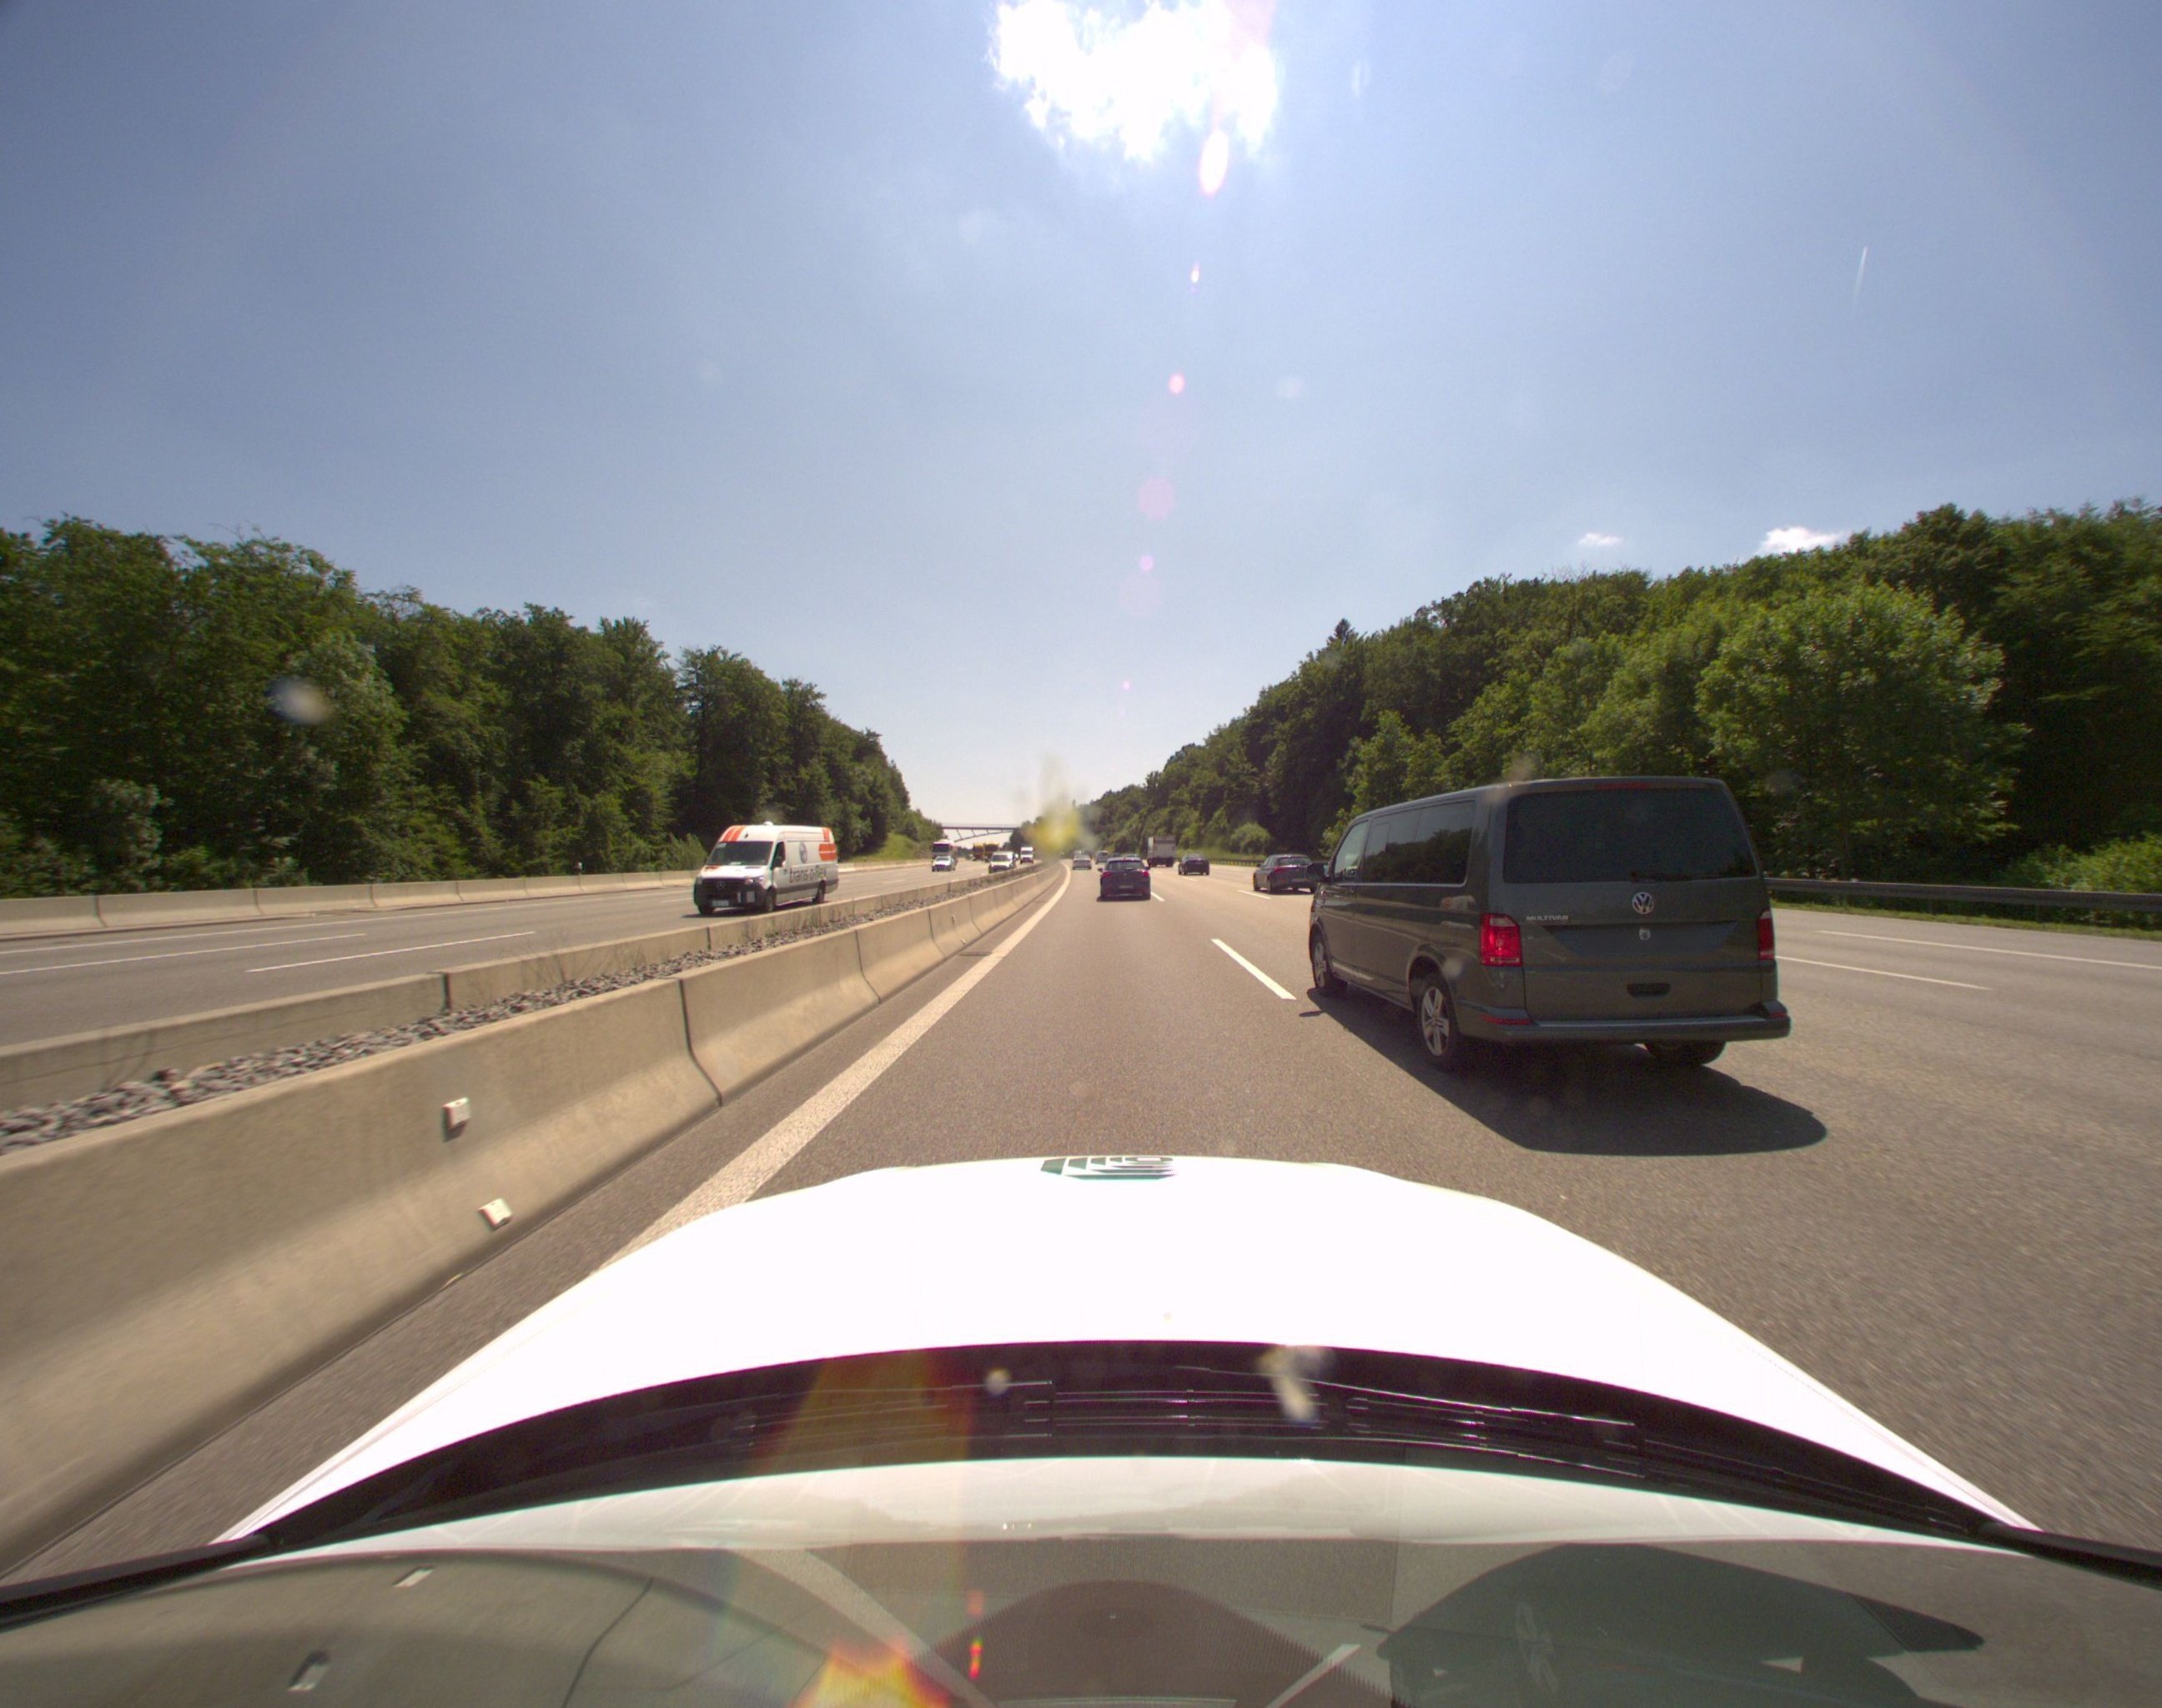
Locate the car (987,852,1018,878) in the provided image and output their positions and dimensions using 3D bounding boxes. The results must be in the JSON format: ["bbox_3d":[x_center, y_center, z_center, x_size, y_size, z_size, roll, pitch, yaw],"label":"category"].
[{"bbox_3d":[-5.808,0.777,60.759,1.813,1.871,4.588,-1,0,0],"label":"car"}]

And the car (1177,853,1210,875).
[{"bbox_3d":[7.677,0.672,55.817,1.659,1.408,4.904,-1,0,1],"label":"car"}]

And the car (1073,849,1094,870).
[{"bbox_3d":[0.270,0.554,80.693,2.006,1.846,3.998,0,-3,0],"label":"car"}]

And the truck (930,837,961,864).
[{"bbox_3d":[-18.219,-0.421,110.115,2.601,3.466,9.880,0,0,0],"label":"truck"}]

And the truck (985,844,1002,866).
[{"bbox_3d":[-16.278,0.145,151.361,2.524,3.940,6.797,-1,0,-1],"label":"truck"}]

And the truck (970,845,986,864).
[{"bbox_3d":[-23.225,0.136,183.639,2.742,4.017,6.748,-1,0,-1],"label":"truck"}]

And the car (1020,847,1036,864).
[{"bbox_3d":[-8.027,0.260,123.790,2.149,2.490,4.698,-1,0,-2],"label":"car"}]

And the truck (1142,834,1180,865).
[{"bbox_3d":[8.540,-0.434,87.977,2.978,3.167,7.567,-1,0,-2],"label":"truck"}]

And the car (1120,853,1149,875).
[{"bbox_3d":[4.390,0.847,67.424,1.988,1.728,4.147,-1,-2,-1],"label":"car"}]

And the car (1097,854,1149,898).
[{"bbox_3d":[1.443,0.740,28.716,1.701,1.433,4.001,0,0,1],"label":"car"}]

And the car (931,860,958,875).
[{"bbox_3d":[-13.472,1.298,80.613,1.757,1.482,4.495,0,0,1],"label":"car"}]

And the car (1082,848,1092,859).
[{"bbox_3d":[1.484,-0.090,189.098,2.258,2.371,4.700,-1,-1,0],"label":"car"}]

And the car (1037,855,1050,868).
[{"bbox_3d":[-6.333,1.315,138.265,1.987,2.014,3.999,0,-2,0],"label":"car"}]

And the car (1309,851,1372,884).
[{"bbox_3d":[12.265,0.634,38.720,1.540,1.444,4.339,-2,-1,-1],"label":"car"}]

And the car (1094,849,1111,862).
[{"bbox_3d":[2.998,0.257,115.108,2.098,1.744,4.682,-1,0,-3],"label":"car"}]

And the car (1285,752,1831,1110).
[{"bbox_3d":[3.376,0.452,7.221,1.955,2.033,5.085,-1,0,1],"label":"car"}]

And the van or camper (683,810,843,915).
[{"bbox_3d":[-9.648,0.243,25.666,1.986,2.799,7.415,-1,0,1],"label":"van or camper"}]

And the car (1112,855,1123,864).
[{"bbox_3d":[7.771,1.241,173.168,2.138,1.858,4.000,0,-1,0],"label":"car"}]

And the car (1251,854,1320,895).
[{"bbox_3d":[7.558,0.711,30.488,1.695,1.396,4.156,-1,0,2],"label":"car"}]
